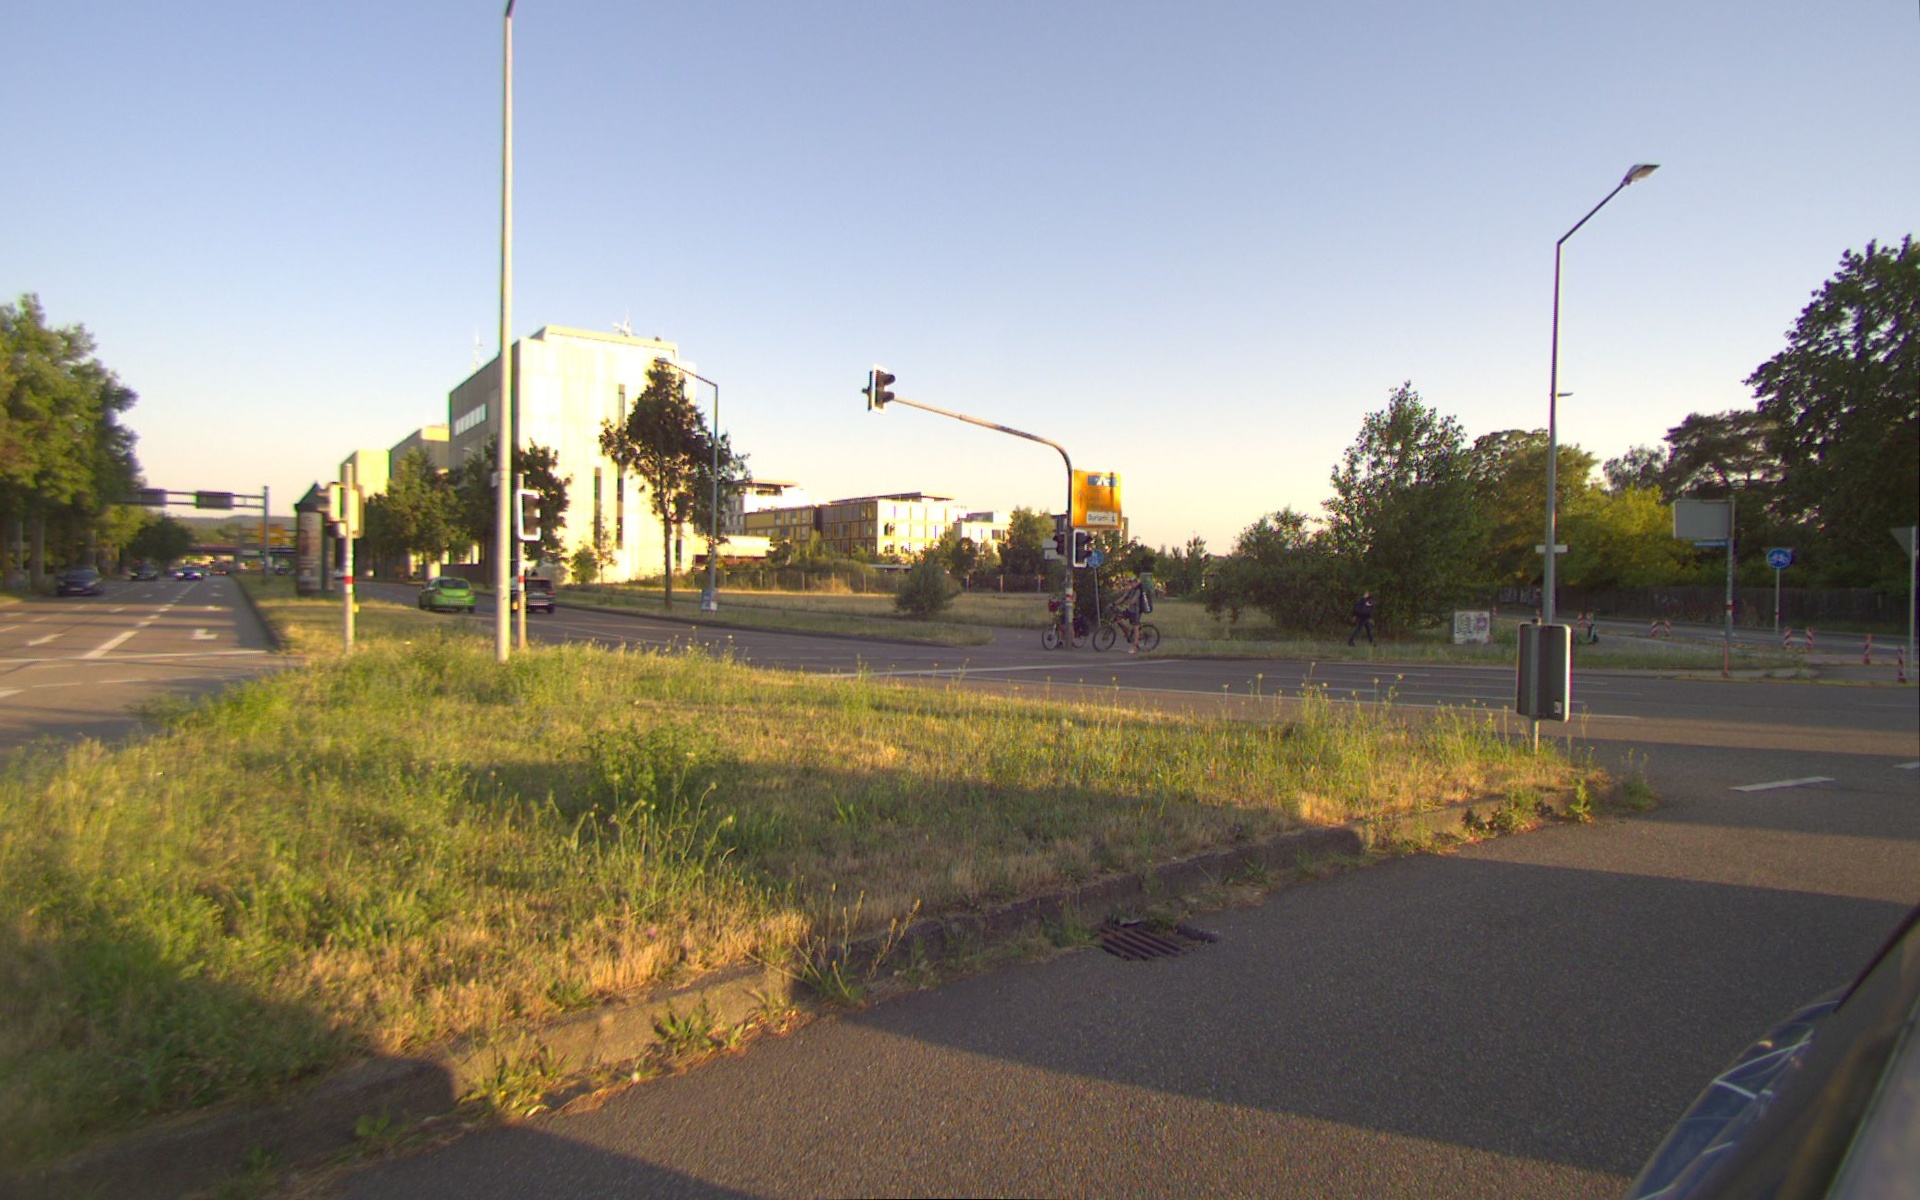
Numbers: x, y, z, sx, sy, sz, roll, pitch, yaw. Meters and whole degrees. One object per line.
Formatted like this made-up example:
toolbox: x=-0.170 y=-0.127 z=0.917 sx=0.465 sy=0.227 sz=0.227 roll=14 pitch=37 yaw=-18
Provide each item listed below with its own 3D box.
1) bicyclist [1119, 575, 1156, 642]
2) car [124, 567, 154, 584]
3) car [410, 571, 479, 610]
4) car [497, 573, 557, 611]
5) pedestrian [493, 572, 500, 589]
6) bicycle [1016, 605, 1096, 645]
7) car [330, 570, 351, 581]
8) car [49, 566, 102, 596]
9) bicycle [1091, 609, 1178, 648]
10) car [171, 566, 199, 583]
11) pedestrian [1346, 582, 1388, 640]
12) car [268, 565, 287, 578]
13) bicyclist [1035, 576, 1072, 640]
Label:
bicyclist: x=4.599 y=0.209 z=26.266 sx=0.674 sy=1.711 sz=0.727 roll=1 pitch=1 yaw=-13
car: x=-74.930 y=-2.238 z=92.415 sx=1.963 sy=1.524 sz=4.618 roll=0 pitch=1 yaw=-38
car: x=-21.400 y=-0.409 z=41.948 sx=1.659 sy=1.438 sz=3.996 roll=3 pitch=-1 yaw=-39
car: x=-19.432 y=-0.384 z=45.327 sx=1.700 sy=1.597 sz=4.332 roll=0 pitch=1 yaw=-33
pedestrian: x=-42.126 y=-1.743 z=91.982 sx=0.492 sy=1.531 sz=0.530 roll=0 pitch=1 yaw=-35
bicycle: x=2.599 y=0.659 z=27.349 sx=2.065 sy=0.975 sz=0.711 roll=-2 pitch=2 yaw=-27
car: x=-84.813 y=-3.349 z=138.530 sx=1.964 sy=1.445 sz=4.195 roll=0 pitch=1 yaw=-38
car: x=-48.917 y=-1.047 z=56.061 sx=1.880 sy=1.603 sz=4.179 roll=0 pitch=1 yaw=-37
bicycle: x=4.526 y=0.732 z=26.244 sx=2.100 sy=0.975 sz=0.711 roll=1 pitch=1 yaw=-15
car: x=-71.680 y=-2.364 z=93.661 sx=1.963 sy=1.524 sz=4.771 roll=0 pitch=1 yaw=-36
pedestrian: x=11.663 y=0.290 z=29.032 sx=0.978 sy=1.610 sz=0.922 roll=1 pitch=1 yaw=16
car: x=-94.258 y=-3.950 z=139.773 sx=1.963 sy=1.649 sz=3.998 roll=0 pitch=1 yaw=-37
bicyclist: x=2.513 y=0.208 z=27.331 sx=0.675 sy=1.711 sz=0.726 roll=0 pitch=1 yaw=-29
